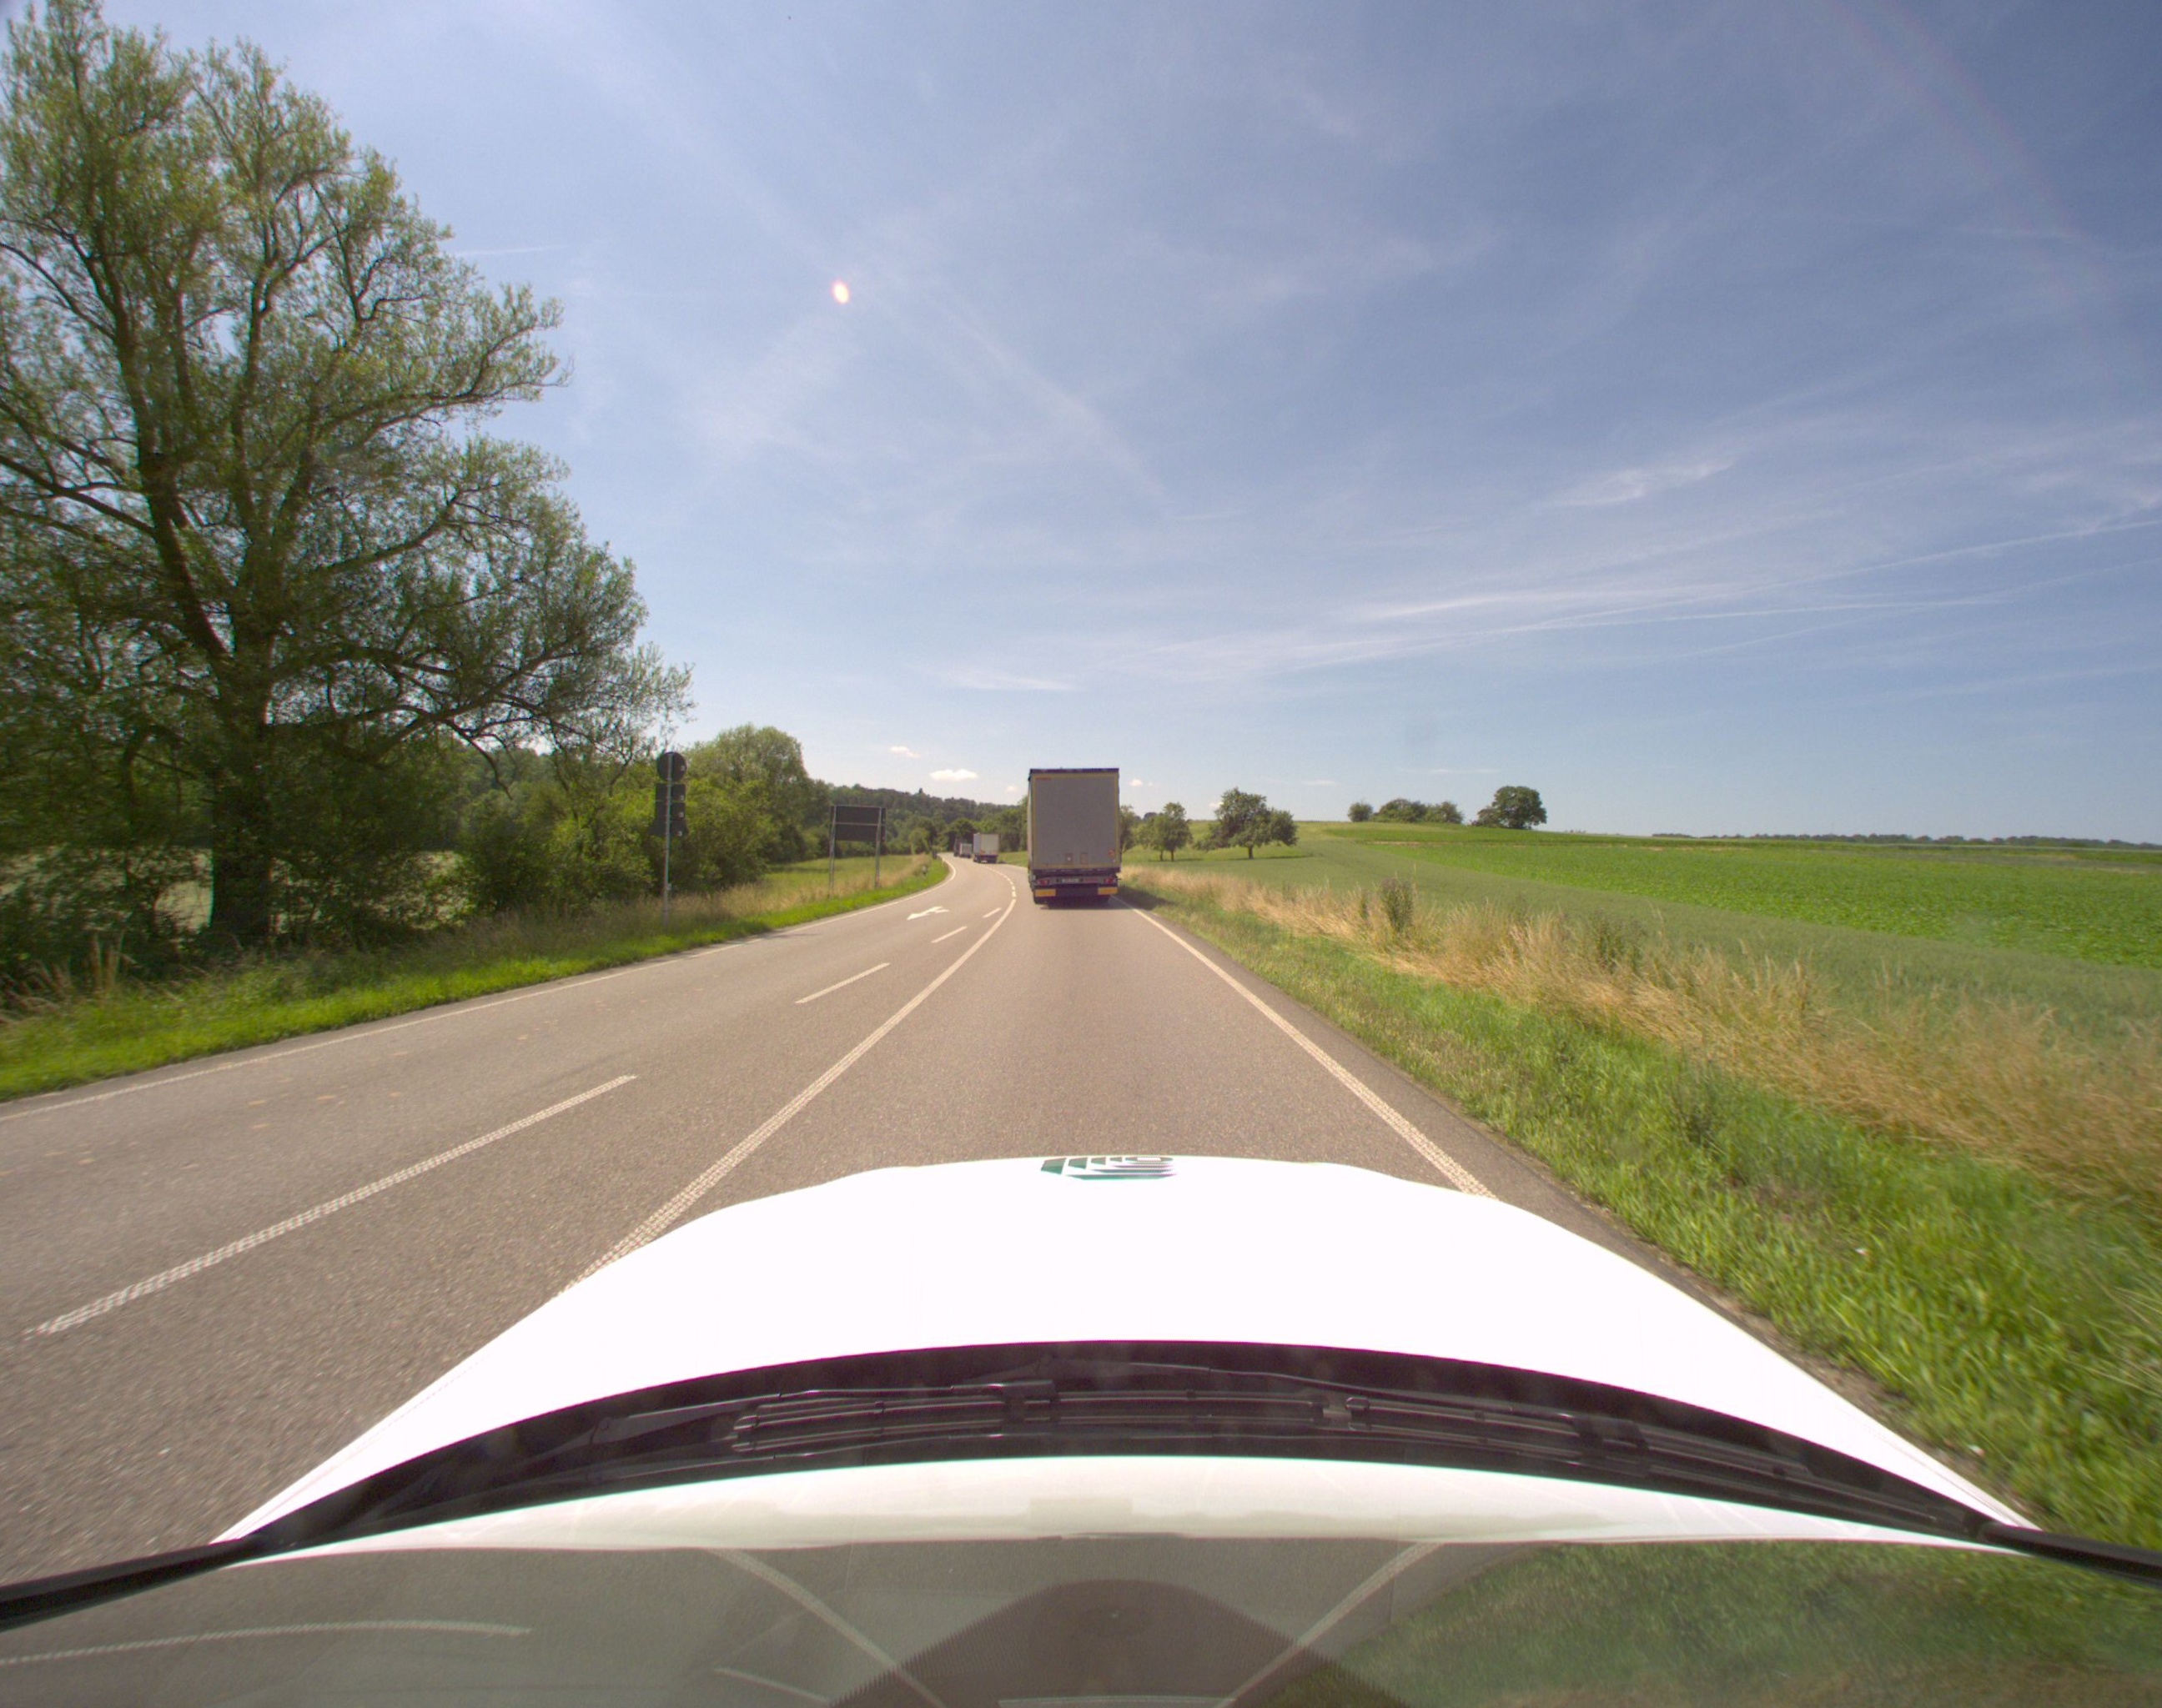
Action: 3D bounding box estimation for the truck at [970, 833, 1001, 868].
[{"bbox_3d":[-13.541,-0.398,114.217,2.962,4.584,16.251,1,-1,-11],"label":"truck"}]

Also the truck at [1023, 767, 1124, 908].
[{"bbox_3d":[-0.520,-0.487,27.864,2.802,3.946,9.577,-1,0,-4],"label":"truck"}]

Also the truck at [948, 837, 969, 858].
[{"bbox_3d":[-28.692,-1.376,190.047,3.533,4.241,13.342,2,-2,-13],"label":"truck"}]

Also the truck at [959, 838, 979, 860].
[{"bbox_3d":[-23.774,-0.896,171.889,3.637,4.130,13.051,2,-2,-10],"label":"truck"}]
